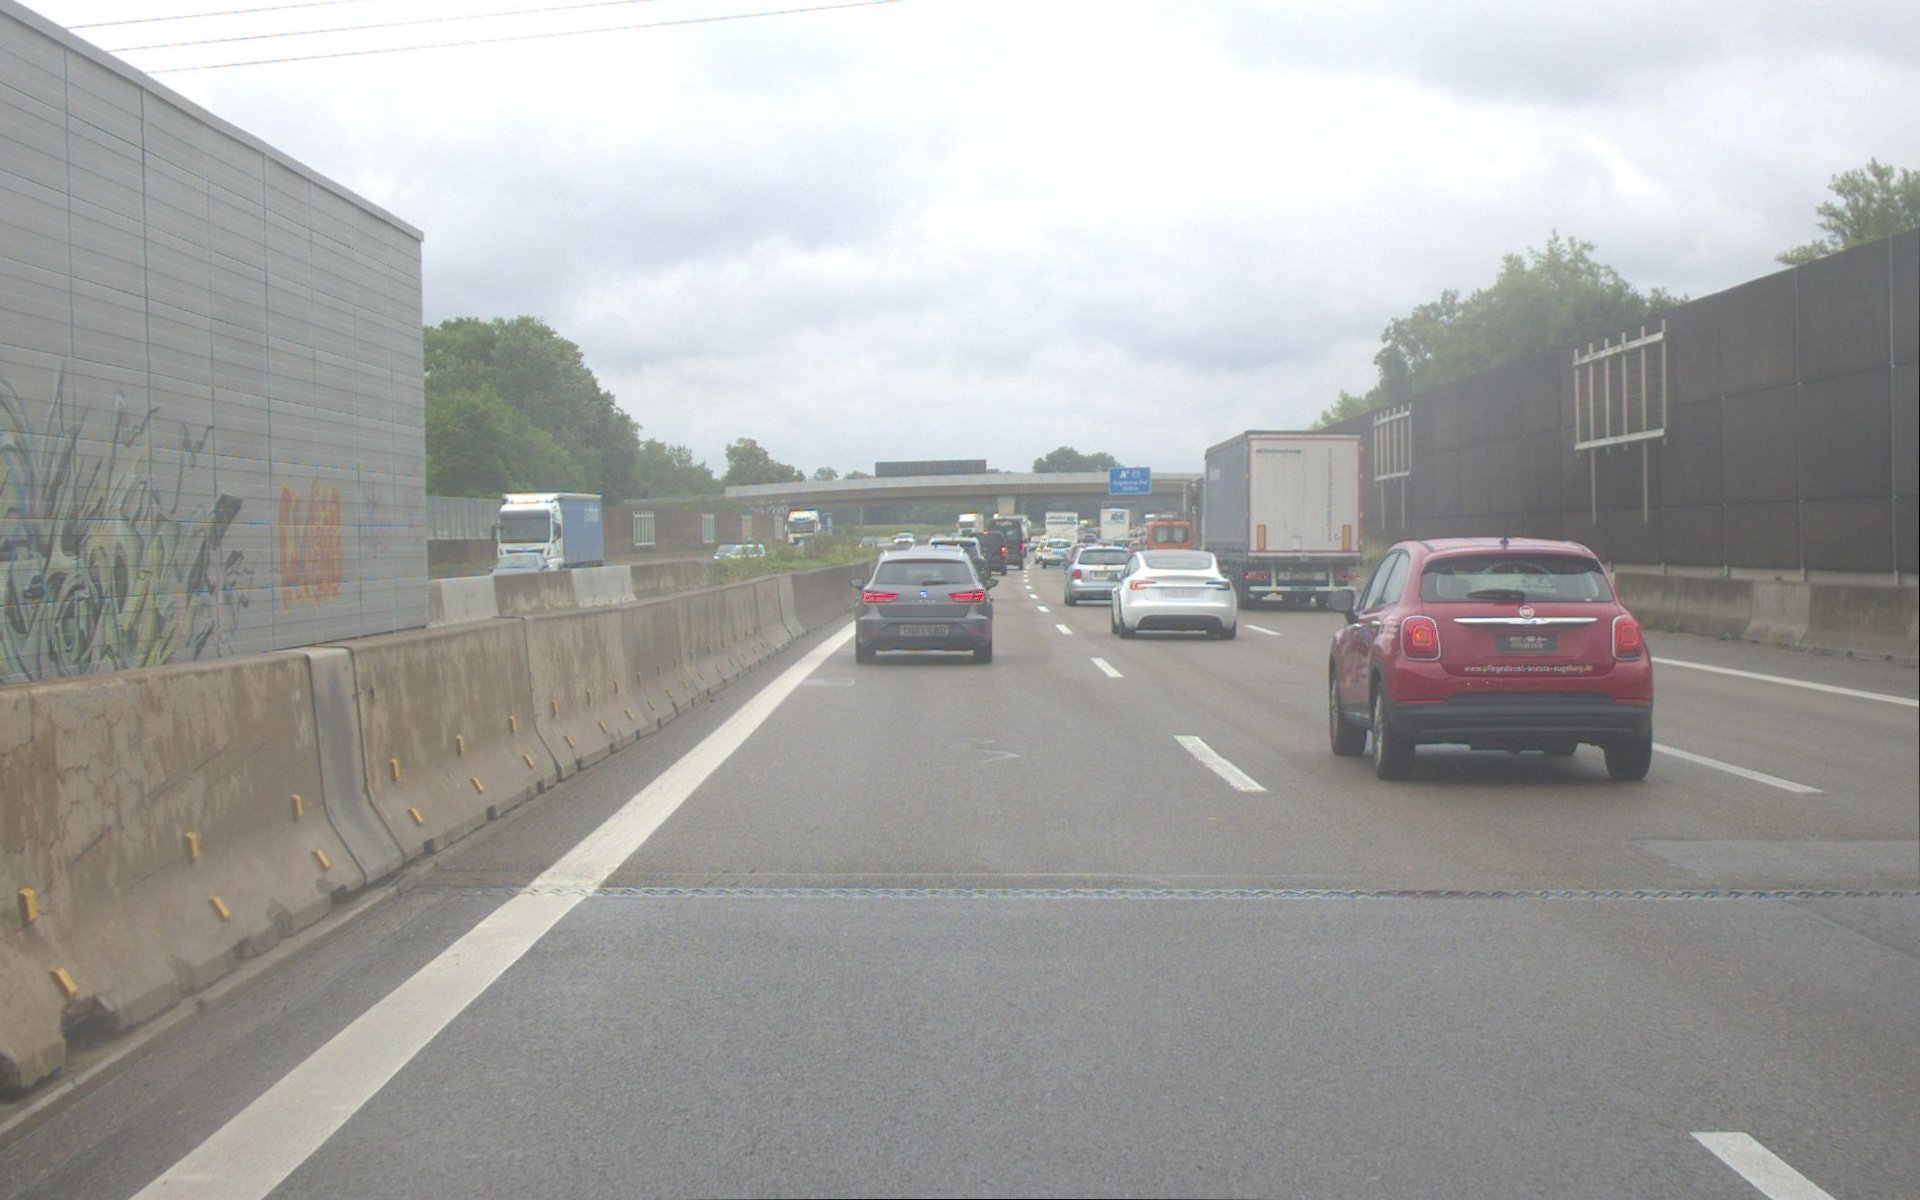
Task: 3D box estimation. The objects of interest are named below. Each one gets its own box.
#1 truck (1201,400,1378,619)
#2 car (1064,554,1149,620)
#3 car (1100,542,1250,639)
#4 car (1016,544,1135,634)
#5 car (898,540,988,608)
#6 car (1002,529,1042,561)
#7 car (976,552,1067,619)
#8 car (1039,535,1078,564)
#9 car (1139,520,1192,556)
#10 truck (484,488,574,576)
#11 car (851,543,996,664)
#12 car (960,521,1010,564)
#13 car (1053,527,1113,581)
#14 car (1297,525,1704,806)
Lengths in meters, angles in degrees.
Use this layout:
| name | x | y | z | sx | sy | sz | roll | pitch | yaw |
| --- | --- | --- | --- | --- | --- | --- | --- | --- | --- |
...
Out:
| name | x | y | z | sx | sy | sz | roll | pitch | yaw |
| --- | --- | --- | --- | --- | --- | --- | --- | --- | --- |
| truck | 7.460 | -2.030 | 78.846 | 3.044 | 4.718 | 7.681 | 1 | 1 | -2 |
| car | 3.512 | -0.330 | 82.889 | 1.702 | 1.538 | 3.839 | 0 | 1 | -3 |
| car | 3.420 | -0.178 | 55.264 | 1.993 | 1.481 | 4.001 | 0 | 1 | -2 |
| car | 2.030 | -0.222 | 61.508 | 1.993 | 1.514 | 4.000 | 0 | 1 | 0 |
| car | -0.391 | -0.570 | 73.277 | 1.781 | 1.401 | 3.627 | 0 | 1 | -2 |
| car | 3.183 | -2.820 | 176.343 | 1.993 | 1.618 | 4.000 | 0 | 1 | 1 |
| car | 1.519 | -0.379 | 86.219 | 1.993 | 1.579 | 4.001 | -1 | 1 | -3 |
| car | 5.361 | -2.769 | 187.724 | 1.993 | 1.514 | 4.000 | 0 | 1 | 0 |
| car | 8.860 | -2.685 | 148.351 | 1.993 | 1.514 | 4.000 | 0 | 1 | 0 |
| truck | -18.632 | -2.931 | 148.823 | 2.993 | 3.679 | 6.882 | 1 | 1 | 0 |
| car | -0.493 | 0.011 | 44.044 | 1.763 | 1.448 | 4.000 | 0 | 1 | -1 |
| car | 1.072 | -2.496 | 148.261 | 1.993 | 1.809 | 4.000 | 0 | 1 | -2 |
| car | 4.717 | -1.763 | 132.231 | 1.993 | 2.007 | 4.000 | 1 | 1 | -2 |
| car | 3.556 | 0.365 | 23.343 | 1.957 | 1.641 | 4.001 | -1 | 2 | -2 |
